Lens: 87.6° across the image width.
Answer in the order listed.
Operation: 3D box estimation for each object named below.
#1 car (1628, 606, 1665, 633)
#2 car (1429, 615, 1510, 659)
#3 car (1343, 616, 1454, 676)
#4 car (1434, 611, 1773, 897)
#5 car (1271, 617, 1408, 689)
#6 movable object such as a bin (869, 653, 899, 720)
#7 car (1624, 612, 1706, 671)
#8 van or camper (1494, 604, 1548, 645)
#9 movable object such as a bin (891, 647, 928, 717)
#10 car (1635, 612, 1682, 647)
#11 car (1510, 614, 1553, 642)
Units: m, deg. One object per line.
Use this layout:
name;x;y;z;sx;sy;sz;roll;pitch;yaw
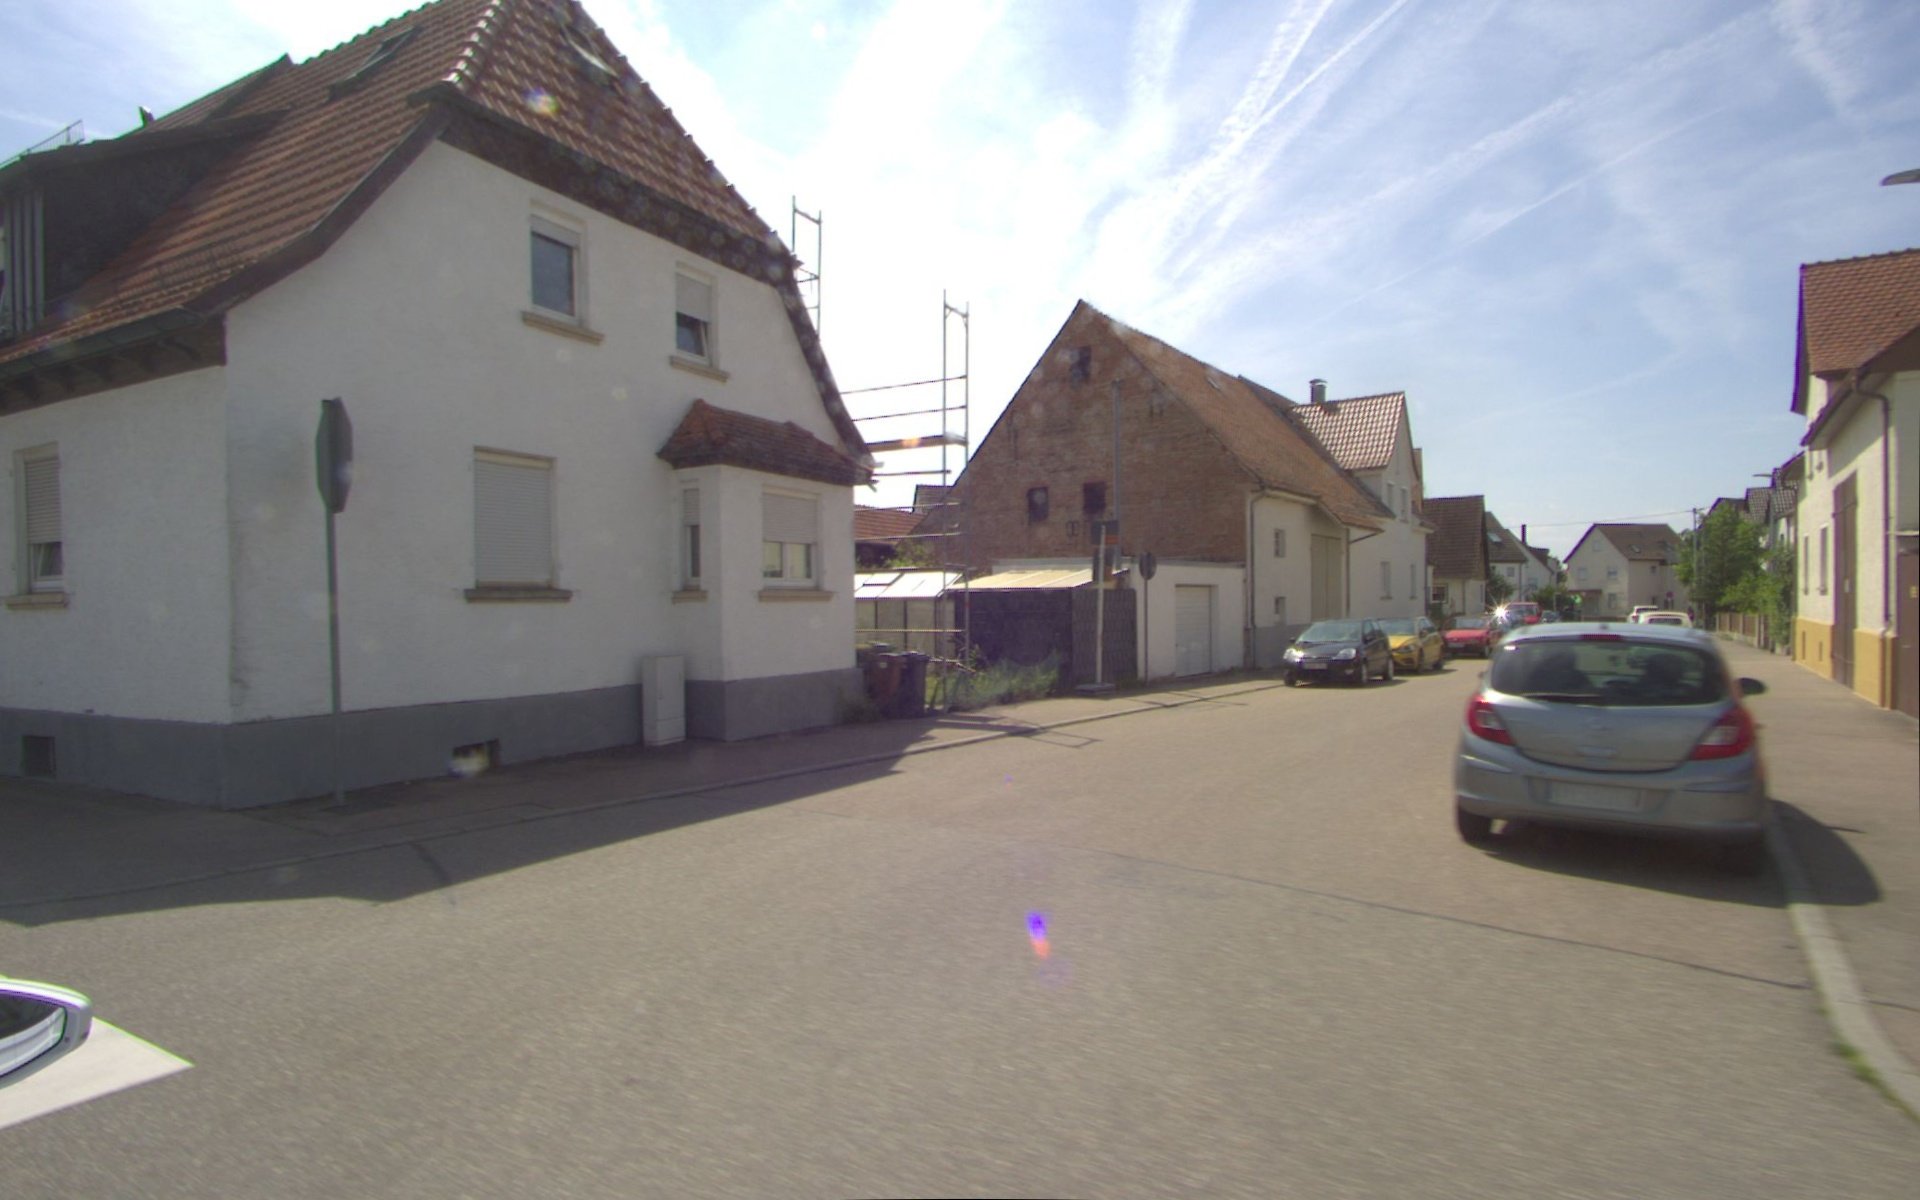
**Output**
car;46.314;1.286;67.609;1.821;1.770;3.979;-1;-1;32
car;17.380;1.222;34.074;1.683;1.409;3.970;-1;-1;39
car;11.461;1.140;26.042;1.683;1.409;3.970;-1;-1;39
car;4.886;0.858;7.519;1.672;1.524;3.974;0;0;36
car;8.477;1.104;22.159;1.683;1.409;3.970;-1;-1;39
movable object such as a bin;-1.103;1.244;14.475;0.354;0.958;0.227;-2;-1;25
car;19.881;1.104;28.175;1.737;1.500;3.973;1;0;37
van or camper;27.382;1.166;48.832;1.850;1.902;4.374;-1;-1;35
movable object such as a bin;-0.738;1.201;14.784;0.285;1.005;0.584;-2;-1;26
car;37.195;1.561;53.392;1.821;1.770;3.979;-1;-1;32
car;30.373;1.460;53.193;1.680;1.409;3.977;-1;-1;34
